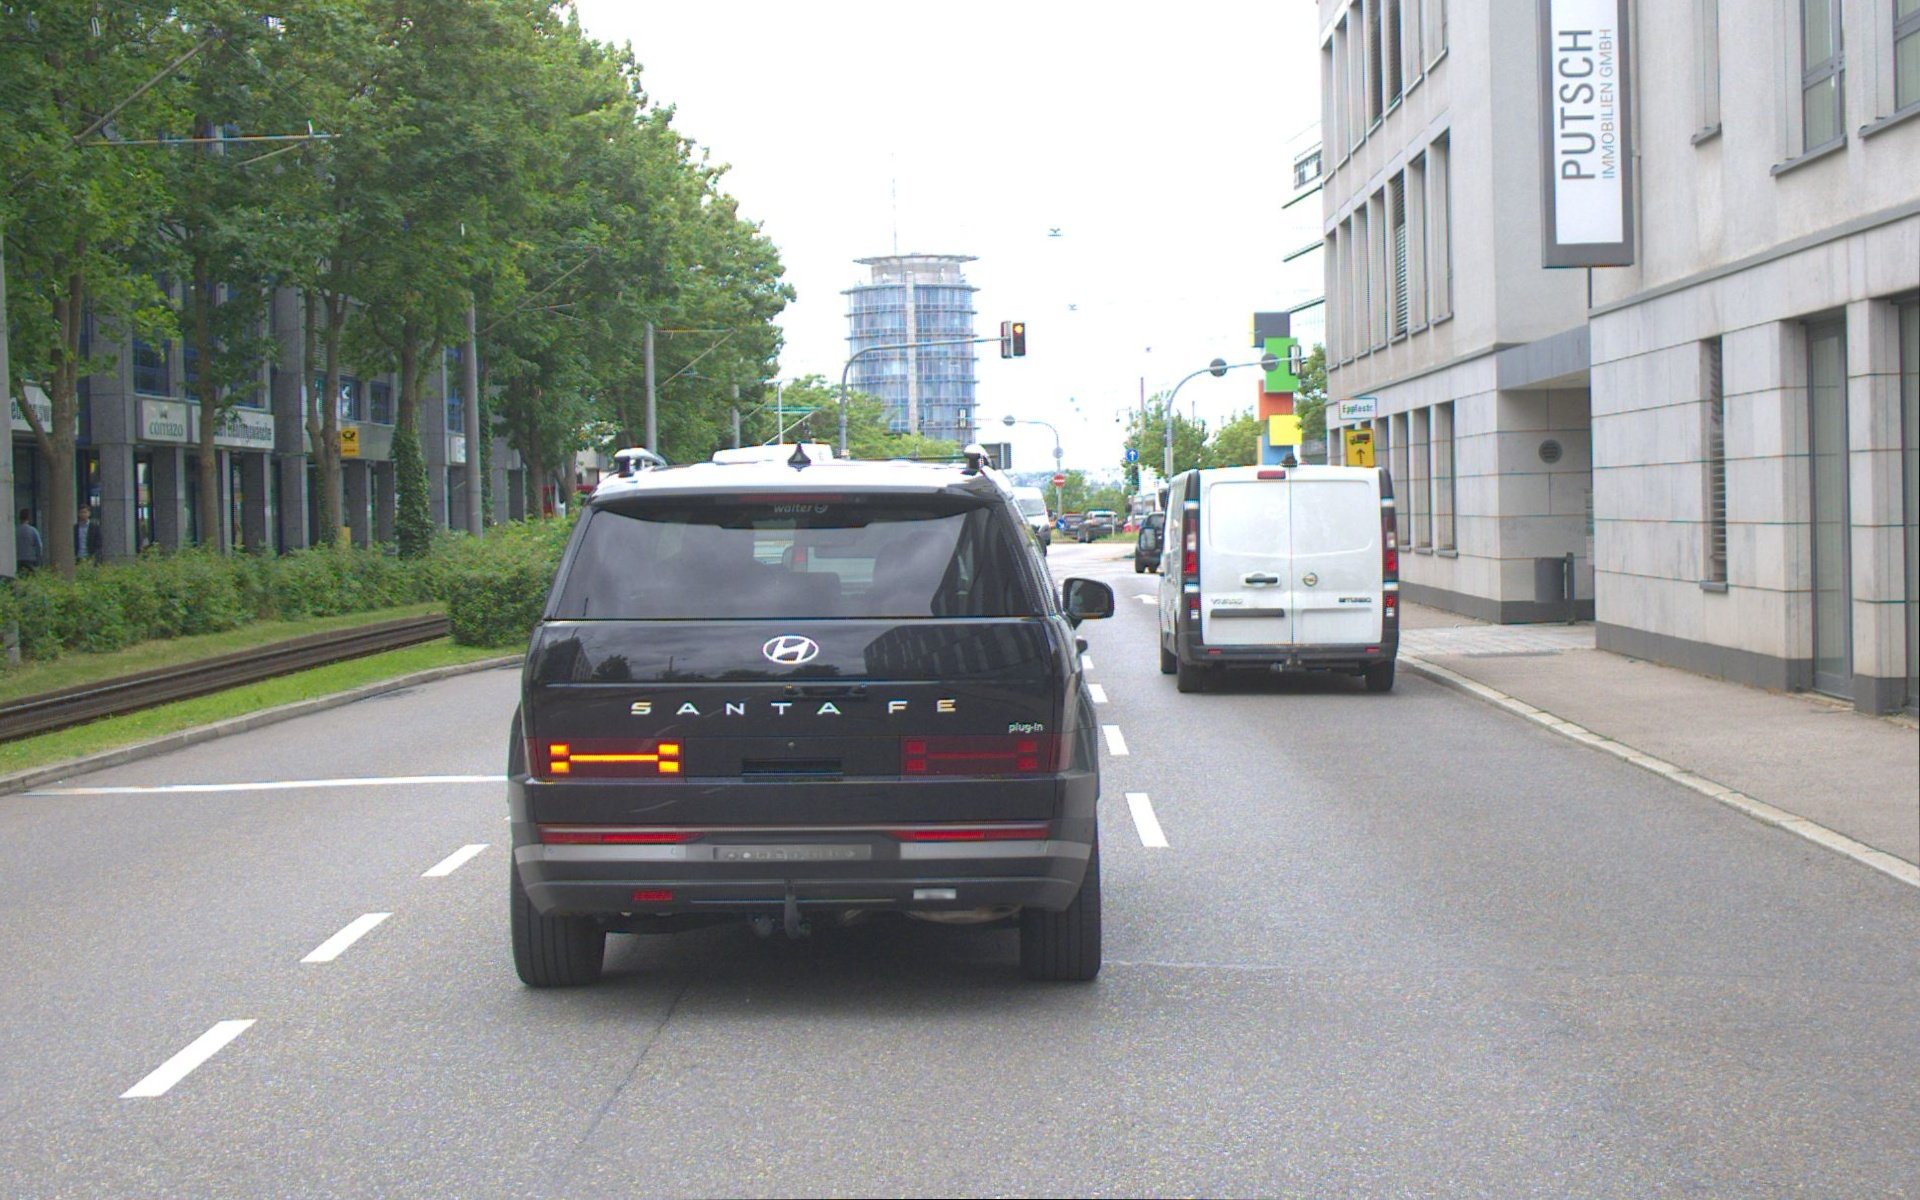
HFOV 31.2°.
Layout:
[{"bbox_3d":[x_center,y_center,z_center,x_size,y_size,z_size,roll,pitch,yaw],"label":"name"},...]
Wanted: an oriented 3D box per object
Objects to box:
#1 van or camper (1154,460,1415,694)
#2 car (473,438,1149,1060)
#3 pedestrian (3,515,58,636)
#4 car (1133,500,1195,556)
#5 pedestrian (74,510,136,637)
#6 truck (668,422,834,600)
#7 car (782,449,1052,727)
[{"bbox_3d":[2.800,-0.252,30.528,1.993,1.909,4.332,-1,2,1],"label":"van or camper"},{"bbox_3d":[-0.578,0.382,12.177,1.908,1.743,4.397,-2,1,-4],"label":"car"},{"bbox_3d":[-15.665,-0.414,57.940,0.681,2.007,0.571,-2,1,1],"label":"pedestrian"},{"bbox_3d":[6.130,-2.177,103.090,1.760,1.603,4.188,-1,2,4],"label":"car"},{"bbox_3d":[-13.101,-0.418,52.701,0.675,1.902,0.622,-3,1,2],"label":"pedestrian"},{"bbox_3d":[-3.247,-1.421,54.581,2.165,2.606,5.796,-2,2,1],"label":"truck"},{"bbox_3d":[-0.405,-0.149,27.536,1.931,1.987,4.536,-2,2,-2],"label":"car"}]
